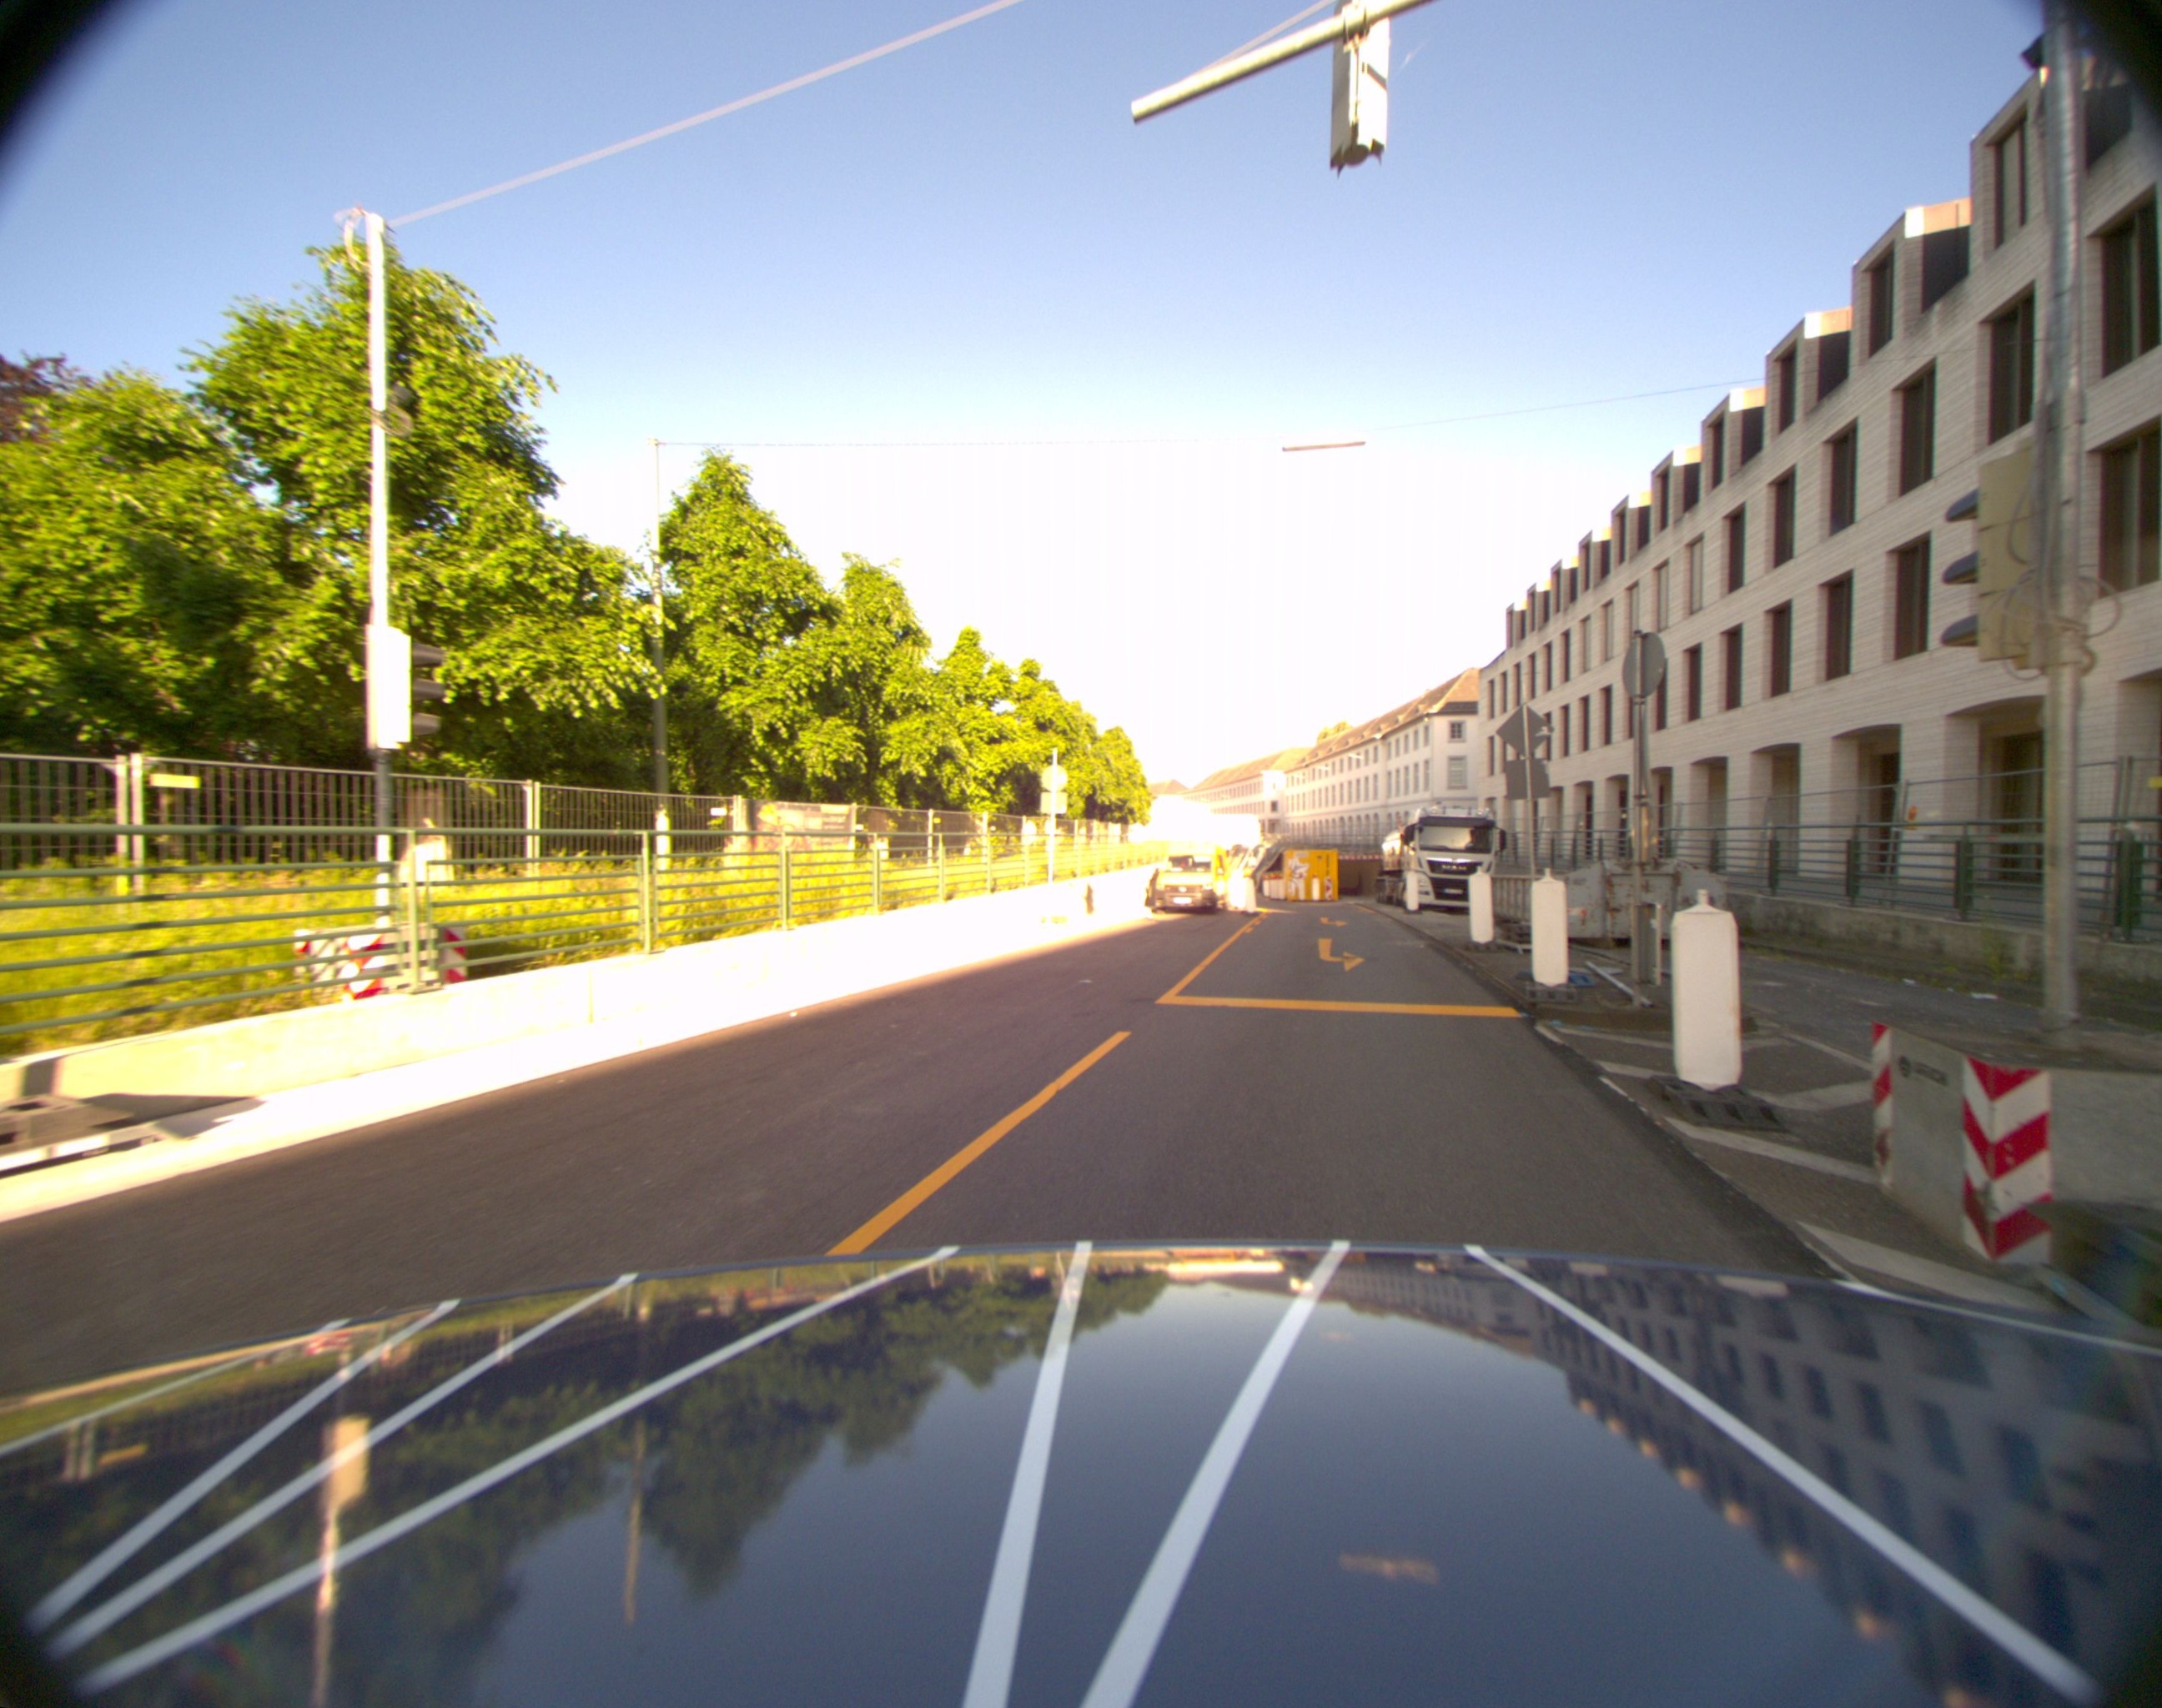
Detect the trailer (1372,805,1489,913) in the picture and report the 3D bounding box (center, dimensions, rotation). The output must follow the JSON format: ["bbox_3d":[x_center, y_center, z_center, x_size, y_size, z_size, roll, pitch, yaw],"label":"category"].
[{"bbox_3d":[13.952,0.231,31.072,2.645,3.647,8.760,4,0,15],"label":"trailer"}]

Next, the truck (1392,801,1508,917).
[{"bbox_3d":[12.638,0.188,26.507,2.582,3.469,5.825,4,0,17],"label":"truck"}]

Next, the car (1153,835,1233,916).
[{"bbox_3d":[4.300,0.750,28.113,2.115,2.609,6.996,0,-1,15],"label":"car"}]
